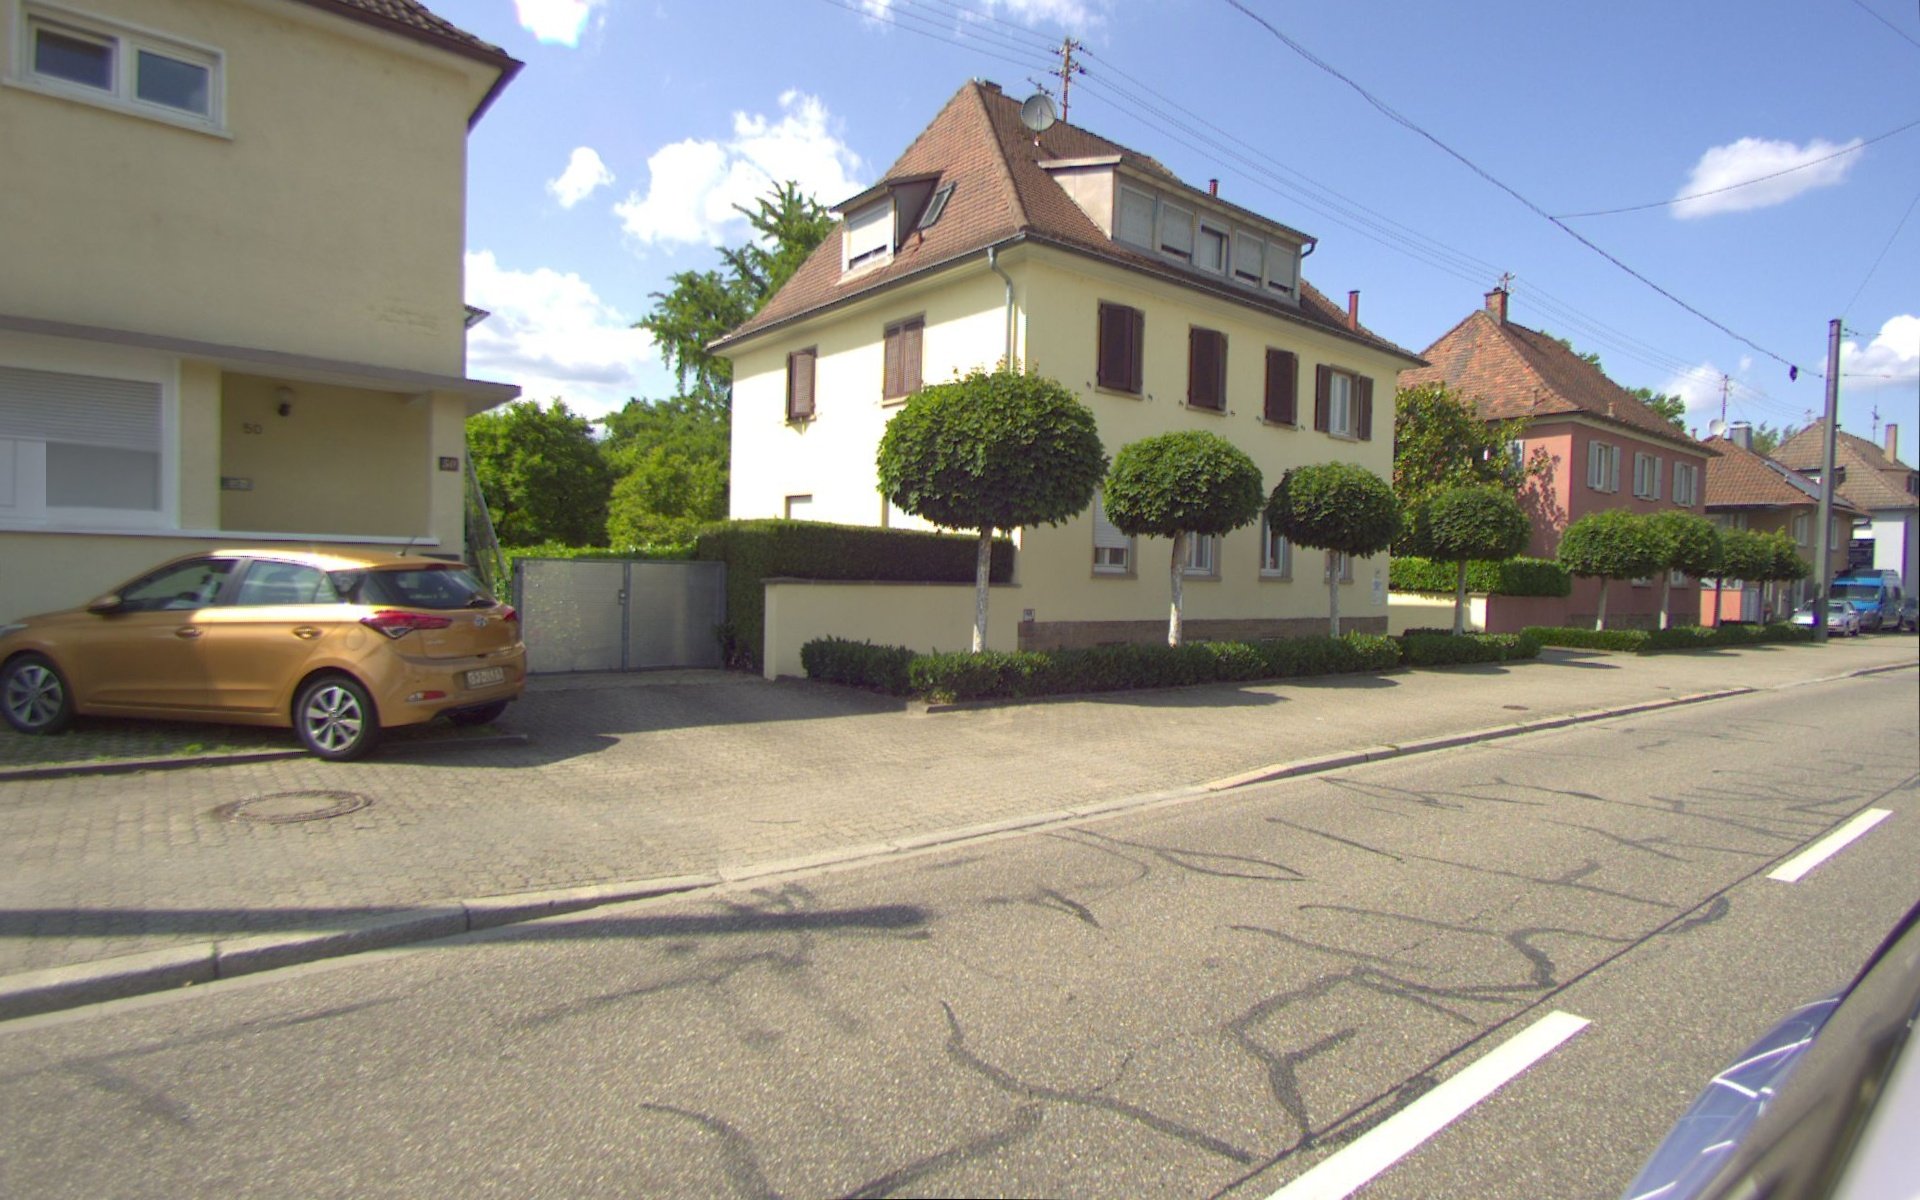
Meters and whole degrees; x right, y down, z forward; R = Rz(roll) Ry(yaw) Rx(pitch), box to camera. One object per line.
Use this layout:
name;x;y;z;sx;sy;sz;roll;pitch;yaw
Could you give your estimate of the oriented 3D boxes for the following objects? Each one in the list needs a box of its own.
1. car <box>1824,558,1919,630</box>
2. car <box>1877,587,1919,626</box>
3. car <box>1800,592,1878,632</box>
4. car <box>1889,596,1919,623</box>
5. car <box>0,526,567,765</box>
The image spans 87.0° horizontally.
car;40.341;-0.285;44.513;6.126;2.967;2.158;0;1;-36
car;45.393;0.319;47.976;4.773;1.732;1.843;1;3;-37
car;35.028;0.433;40.293;4.274;1.426;1.653;-1;3;-40
car;52.912;0.558;54.774;1.695;1.397;3.660;-1;2;-37
car;-5.563;0.264;8.170;4.027;1.476;1.911;3;1;10
